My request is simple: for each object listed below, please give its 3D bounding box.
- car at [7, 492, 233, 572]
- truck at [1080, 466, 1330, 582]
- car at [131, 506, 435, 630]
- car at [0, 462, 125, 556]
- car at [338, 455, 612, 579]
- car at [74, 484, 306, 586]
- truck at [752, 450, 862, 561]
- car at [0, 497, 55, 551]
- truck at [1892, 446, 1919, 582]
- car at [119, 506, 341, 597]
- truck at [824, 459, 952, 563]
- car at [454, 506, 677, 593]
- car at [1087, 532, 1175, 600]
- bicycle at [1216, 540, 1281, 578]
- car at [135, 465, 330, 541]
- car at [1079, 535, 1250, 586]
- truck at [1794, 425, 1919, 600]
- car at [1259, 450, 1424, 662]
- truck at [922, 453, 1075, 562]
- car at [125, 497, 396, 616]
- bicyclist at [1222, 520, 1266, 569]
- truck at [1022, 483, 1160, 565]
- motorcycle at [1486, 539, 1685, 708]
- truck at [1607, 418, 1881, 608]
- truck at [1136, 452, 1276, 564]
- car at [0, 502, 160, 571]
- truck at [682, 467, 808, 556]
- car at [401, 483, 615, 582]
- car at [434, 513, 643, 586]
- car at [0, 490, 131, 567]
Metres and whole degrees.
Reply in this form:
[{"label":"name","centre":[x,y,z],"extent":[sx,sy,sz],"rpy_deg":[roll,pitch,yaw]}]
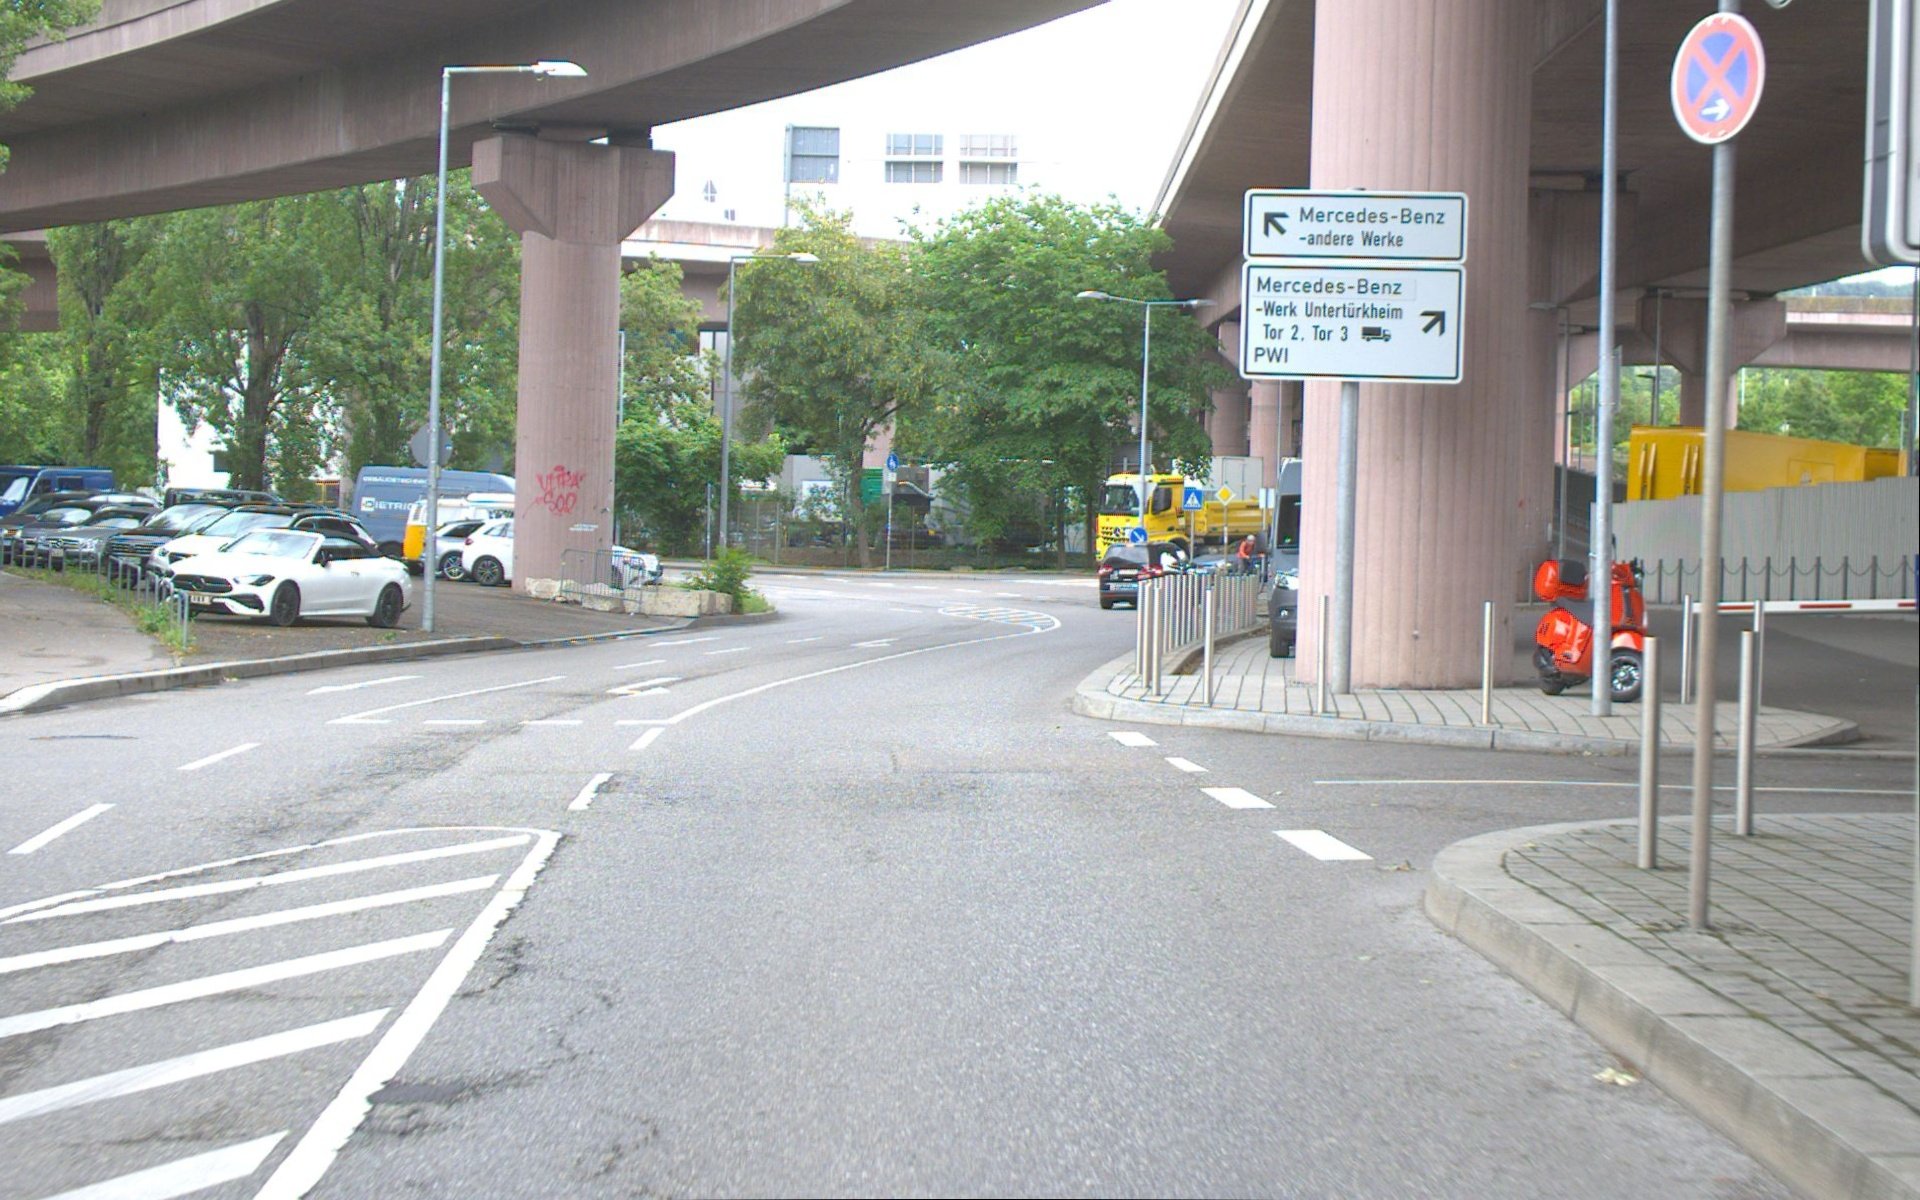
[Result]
[{"label":"car","centre":[-17.319,-1.401,71.087],"extent":[1.859,1.482,4.882],"rpy_deg":[4,3,24]},{"label":"truck","centre":[8.007,-2.527,111.520],"extent":[8.221,3.469,2.936],"rpy_deg":[-2,6,-40]},{"label":"car","centre":[-9.881,-0.440,50.594],"extent":[1.996,1.474,4.823],"rpy_deg":[6,0,21]},{"label":"car","centre":[-22.939,-2.211,84.595],"extent":[2.120,2.247,5.012],"rpy_deg":[1,1,22]},{"label":"car","centre":[-11.794,-2.023,83.860],"extent":[6.176,2.715,2.368],"rpy_deg":[2,1,3]},{"label":"car","centre":[-13.682,-1.137,61.309],"extent":[1.859,1.685,4.158],"rpy_deg":[2,1,24]},{"label":"truck","centre":[-6.896,-4.288,153.818],"extent":[3.202,4.763,8.052],"rpy_deg":[0,3,-15]},{"label":"car","centre":[-25.960,-1.983,89.777],"extent":[1.996,1.430,4.639],"rpy_deg":[0,1,25]},{"label":"truck","centre":[24.431,-2.022,76.611],"extent":[3.145,2.934,8.695],"rpy_deg":[-2,1,44]},{"label":"car","centre":[-12.339,-0.810,58.323],"extent":[1.789,1.449,3.742],"rpy_deg":[2,1,24]},{"label":"truck","centre":[-2.856,-3.412,134.214],"extent":[3.065,3.950,6.925],"rpy_deg":[0,1,-19]},{"label":"car","centre":[-8.621,-1.113,75.242],"extent":[4.383,1.600,1.953],"rpy_deg":[4,2,14]},{"label":"car","centre":[4.385,-0.894,88.702],"extent":[1.993,1.673,4.561],"rpy_deg":[1,1,0]},{"label":"bicycle","centre":[8.287,-1.186,98.887],"extent":[0.802,1.094,2.131],"rpy_deg":[-1,1,-30]},{"label":"car","centre":[-21.151,-2.808,100.132],"extent":[5.090,2.065,2.259],"rpy_deg":[1,0,5]},{"label":"car","centre":[6.269,-1.221,105.146],"extent":[4.917,1.496,2.173],"rpy_deg":[0,2,-35]},{"label":"truck","centre":[27.990,-2.476,100.189],"extent":[3.146,4.886,8.695],"rpy_deg":[2,1,43]},{"label":"car","centre":[4.989,-0.607,45.443],"extent":[1.994,2.604,6.073],"rpy_deg":[0,1,5]},{"label":"truck","centre":[1.375,-3.523,129.319],"extent":[3.065,3.854,8.051],"rpy_deg":[0,3,-20]},{"label":"car","centre":[-11.062,-0.662,54.688],"extent":[1.996,1.577,4.395],"rpy_deg":[6,1,22]},{"label":"bicyclist","centre":[8.173,-1.607,99.082],"extent":[0.796,1.400,1.066],"rpy_deg":[-1,1,-30]},{"label":"truck","centre":[4.934,-2.919,130.785],"extent":[2.914,2.889,6.561],"rpy_deg":[0,3,-20]},{"label":"motorcycle","centre":[5.350,0.175,29.552],"extent":[0.795,1.362,2.130],"rpy_deg":[0,2,-16]},{"label":"truck","centre":[21.324,-2.290,93.131],"extent":[3.146,4.900,8.695],"rpy_deg":[2,1,43]},{"label":"truck","centre":[9.890,-3.789,139.188],"extent":[3.064,4.284,8.052],"rpy_deg":[0,3,-16]},{"label":"car","centre":[-18.930,-1.365,73.883],"extent":[1.645,1.436,3.732],"rpy_deg":[1,1,19]},{"label":"truck","centre":[-9.449,-3.913,150.194],"extent":[3.054,3.606,7.918],"rpy_deg":[0,3,-22]},{"label":"car","centre":[-10.615,-1.591,80.855],"extent":[4.558,2.104,1.850],"rpy_deg":[3,1,9]},{"label":"car","centre":[-9.576,-1.160,78.242],"extent":[4.246,1.366,1.999],"rpy_deg":[4,2,12]},{"label":"car","centre":[-20.586,-1.587,76.562],"extent":[1.898,1.670,4.148],"rpy_deg":[1,1,27]}]
